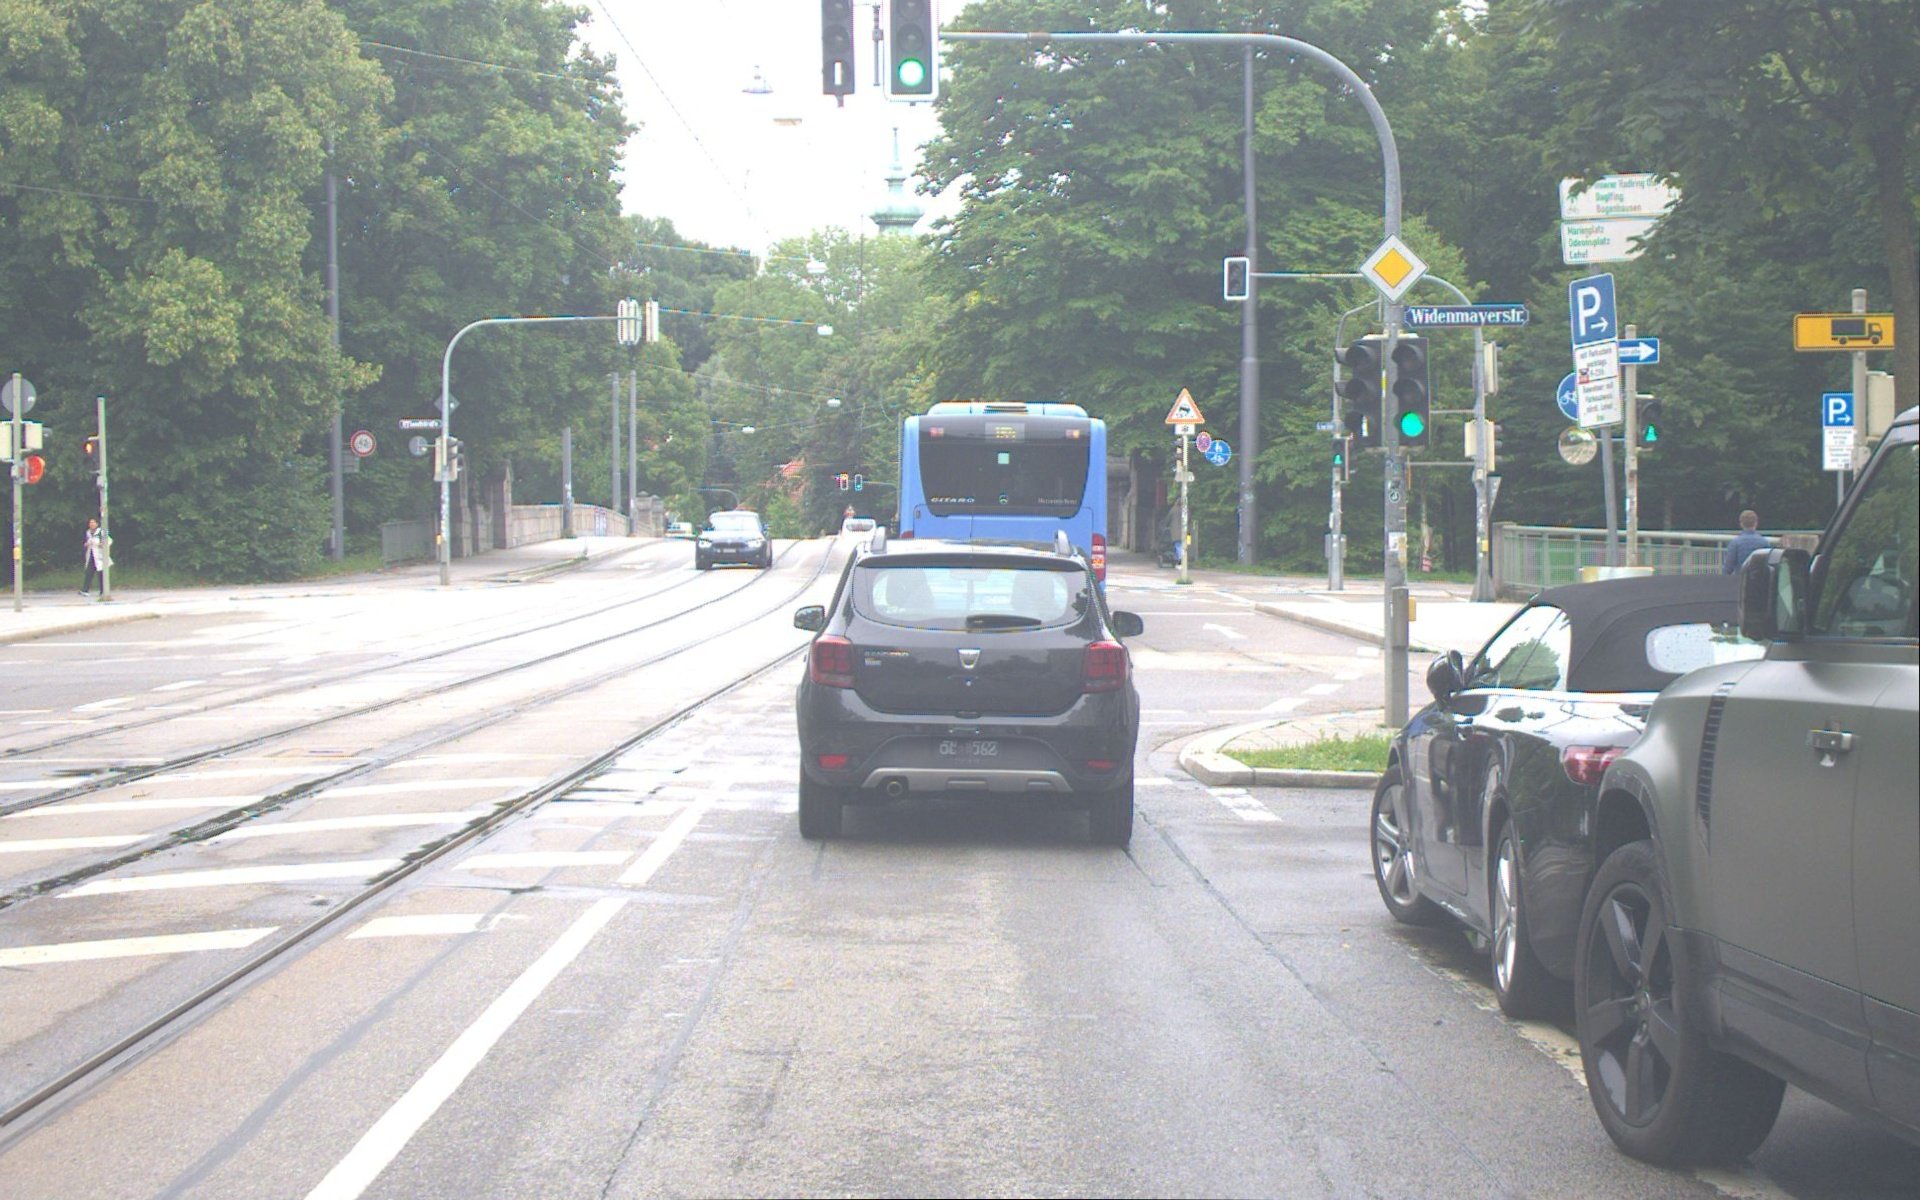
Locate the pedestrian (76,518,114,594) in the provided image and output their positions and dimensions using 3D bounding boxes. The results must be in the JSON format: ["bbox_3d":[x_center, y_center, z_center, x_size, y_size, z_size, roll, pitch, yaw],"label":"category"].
[{"bbox_3d":[-17.158,-0.875,68.180,0.532,1.496,0.588,2,0,4],"label":"pedestrian"}]

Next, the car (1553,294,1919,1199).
[{"bbox_3d":[2.651,0.414,6.666,1.914,1.899,4.808,1,1,-3],"label":"car"}]

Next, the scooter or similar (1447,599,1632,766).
[{"bbox_3d":[3.998,0.560,23.682,1.194,1.092,0.589,2,1,13],"label":"scooter or similar"}]

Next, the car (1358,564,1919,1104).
[{"bbox_3d":[2.591,0.687,12.470,1.714,1.586,4.327,1,1,-1],"label":"car"}]

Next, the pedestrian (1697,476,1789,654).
[{"bbox_3d":[9.039,-0.404,39.720,0.830,2.007,0.780,1,0,0],"label":"pedestrian"}]

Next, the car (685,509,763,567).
[{"bbox_3d":[-5.895,-1.546,86.033,1.787,1.365,3.400,1,1,-2],"label":"car"}]

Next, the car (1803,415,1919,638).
[{"bbox_3d":[13.194,-0.817,41.667,5.295,2.604,2.231,1,1,-3],"label":"car"}]

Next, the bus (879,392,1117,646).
[{"bbox_3d":[0.376,-1.020,44.906,2.678,2.987,6.962,1,1,-2],"label":"bus"}]

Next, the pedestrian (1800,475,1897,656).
[{"bbox_3d":[10.085,-0.390,39.042,0.830,2.007,0.780,1,0,0],"label":"pedestrian"}]

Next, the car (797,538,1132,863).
[{"bbox_3d":[-0.012,0.470,18.579,1.600,1.551,3.525,1,1,-1],"label":"car"}]

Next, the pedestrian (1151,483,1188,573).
[{"bbox_3d":[4.995,-1.720,82.057,0.762,2.109,0.853,1,0,0],"label":"pedestrian"}]
